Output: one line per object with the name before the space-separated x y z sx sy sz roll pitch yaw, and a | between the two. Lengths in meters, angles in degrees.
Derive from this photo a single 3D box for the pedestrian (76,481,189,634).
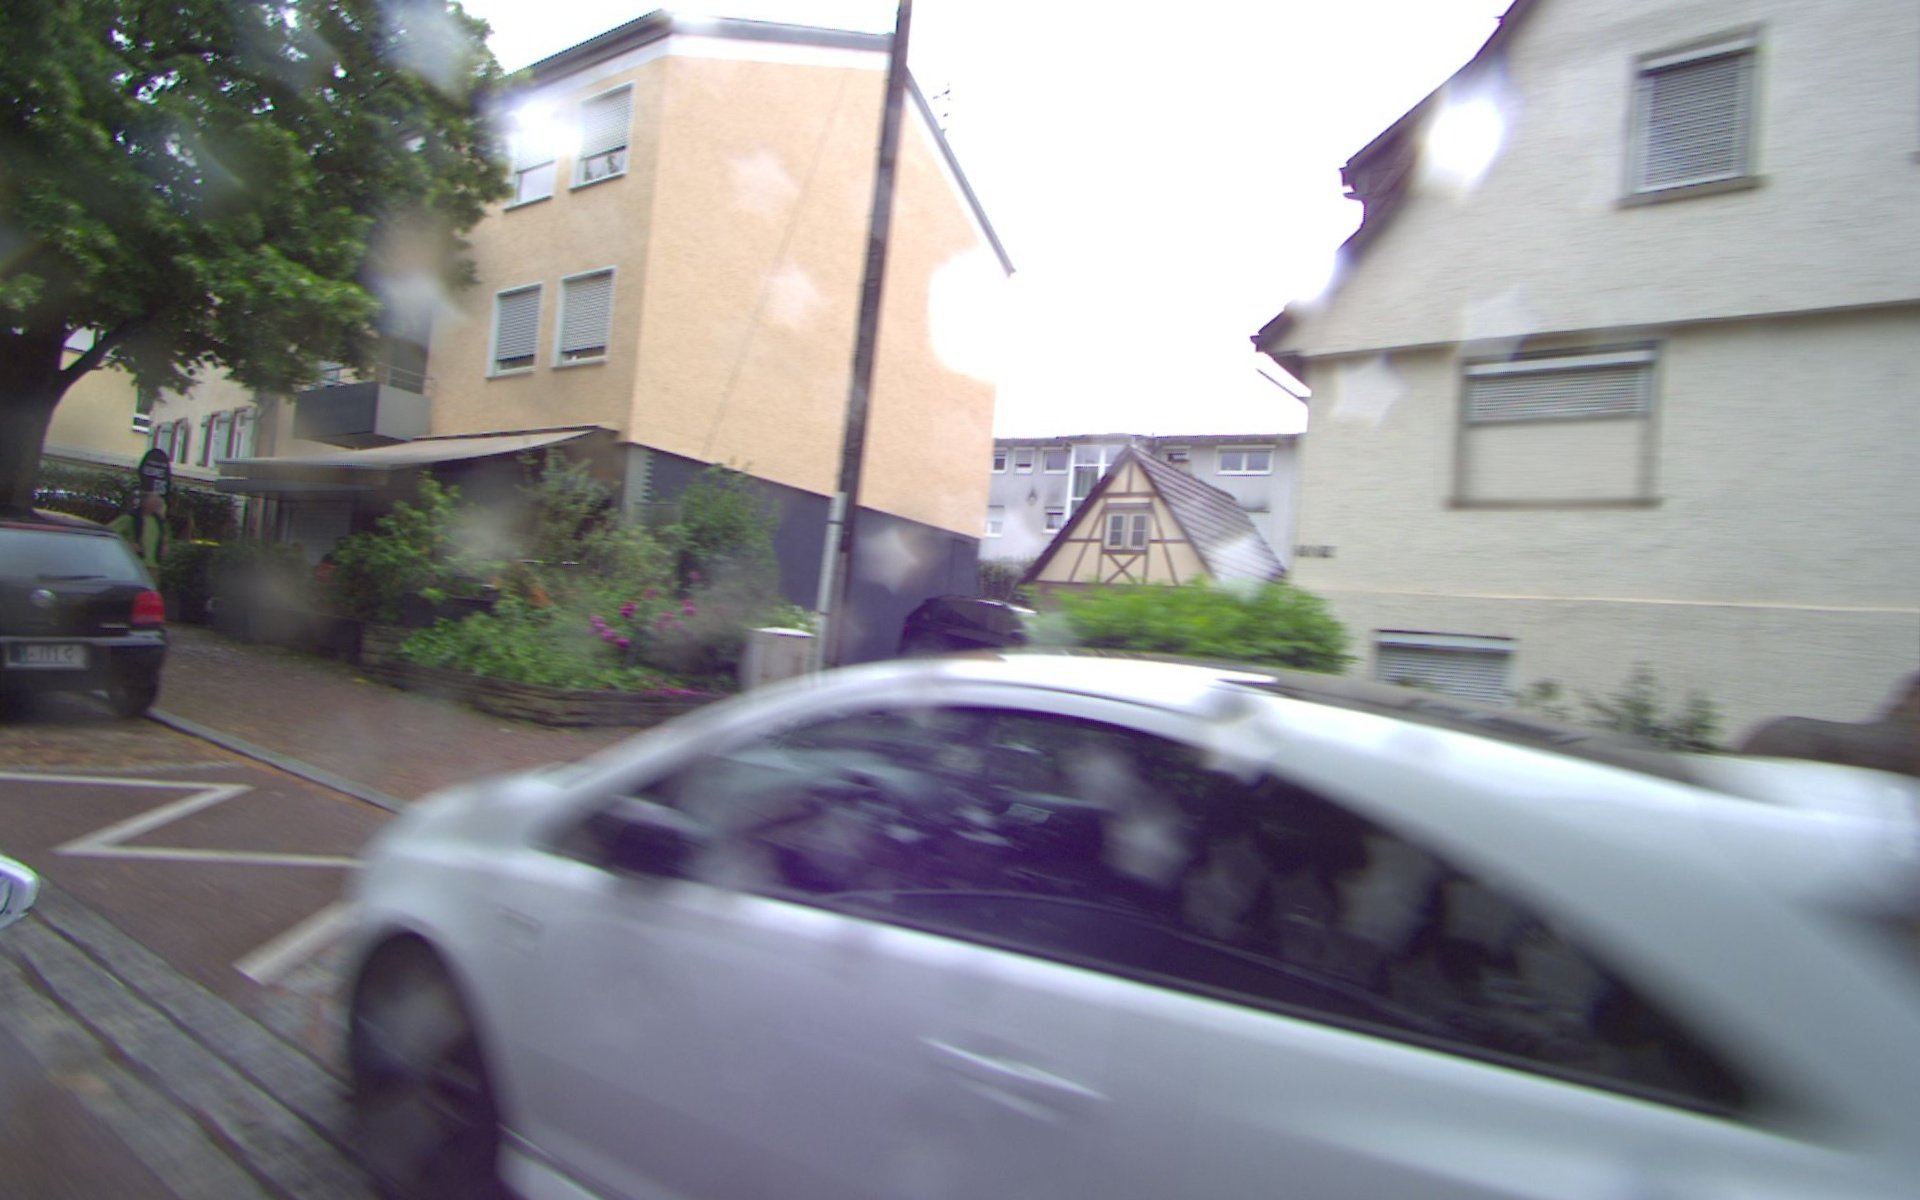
pedestrian | -10.116 -0.503 12.315 0.483 1.752 0.769 7 0 20

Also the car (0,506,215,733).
car | -7.574 -0.025 7.559 3.720 1.427 1.812 7 -2 32

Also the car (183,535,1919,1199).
car | -0.067 0.771 2.556 3.731 1.416 1.683 6 -1 31

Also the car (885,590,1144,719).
car | 0.951 0.965 18.621 4.270 1.700 1.891 8 0 35
